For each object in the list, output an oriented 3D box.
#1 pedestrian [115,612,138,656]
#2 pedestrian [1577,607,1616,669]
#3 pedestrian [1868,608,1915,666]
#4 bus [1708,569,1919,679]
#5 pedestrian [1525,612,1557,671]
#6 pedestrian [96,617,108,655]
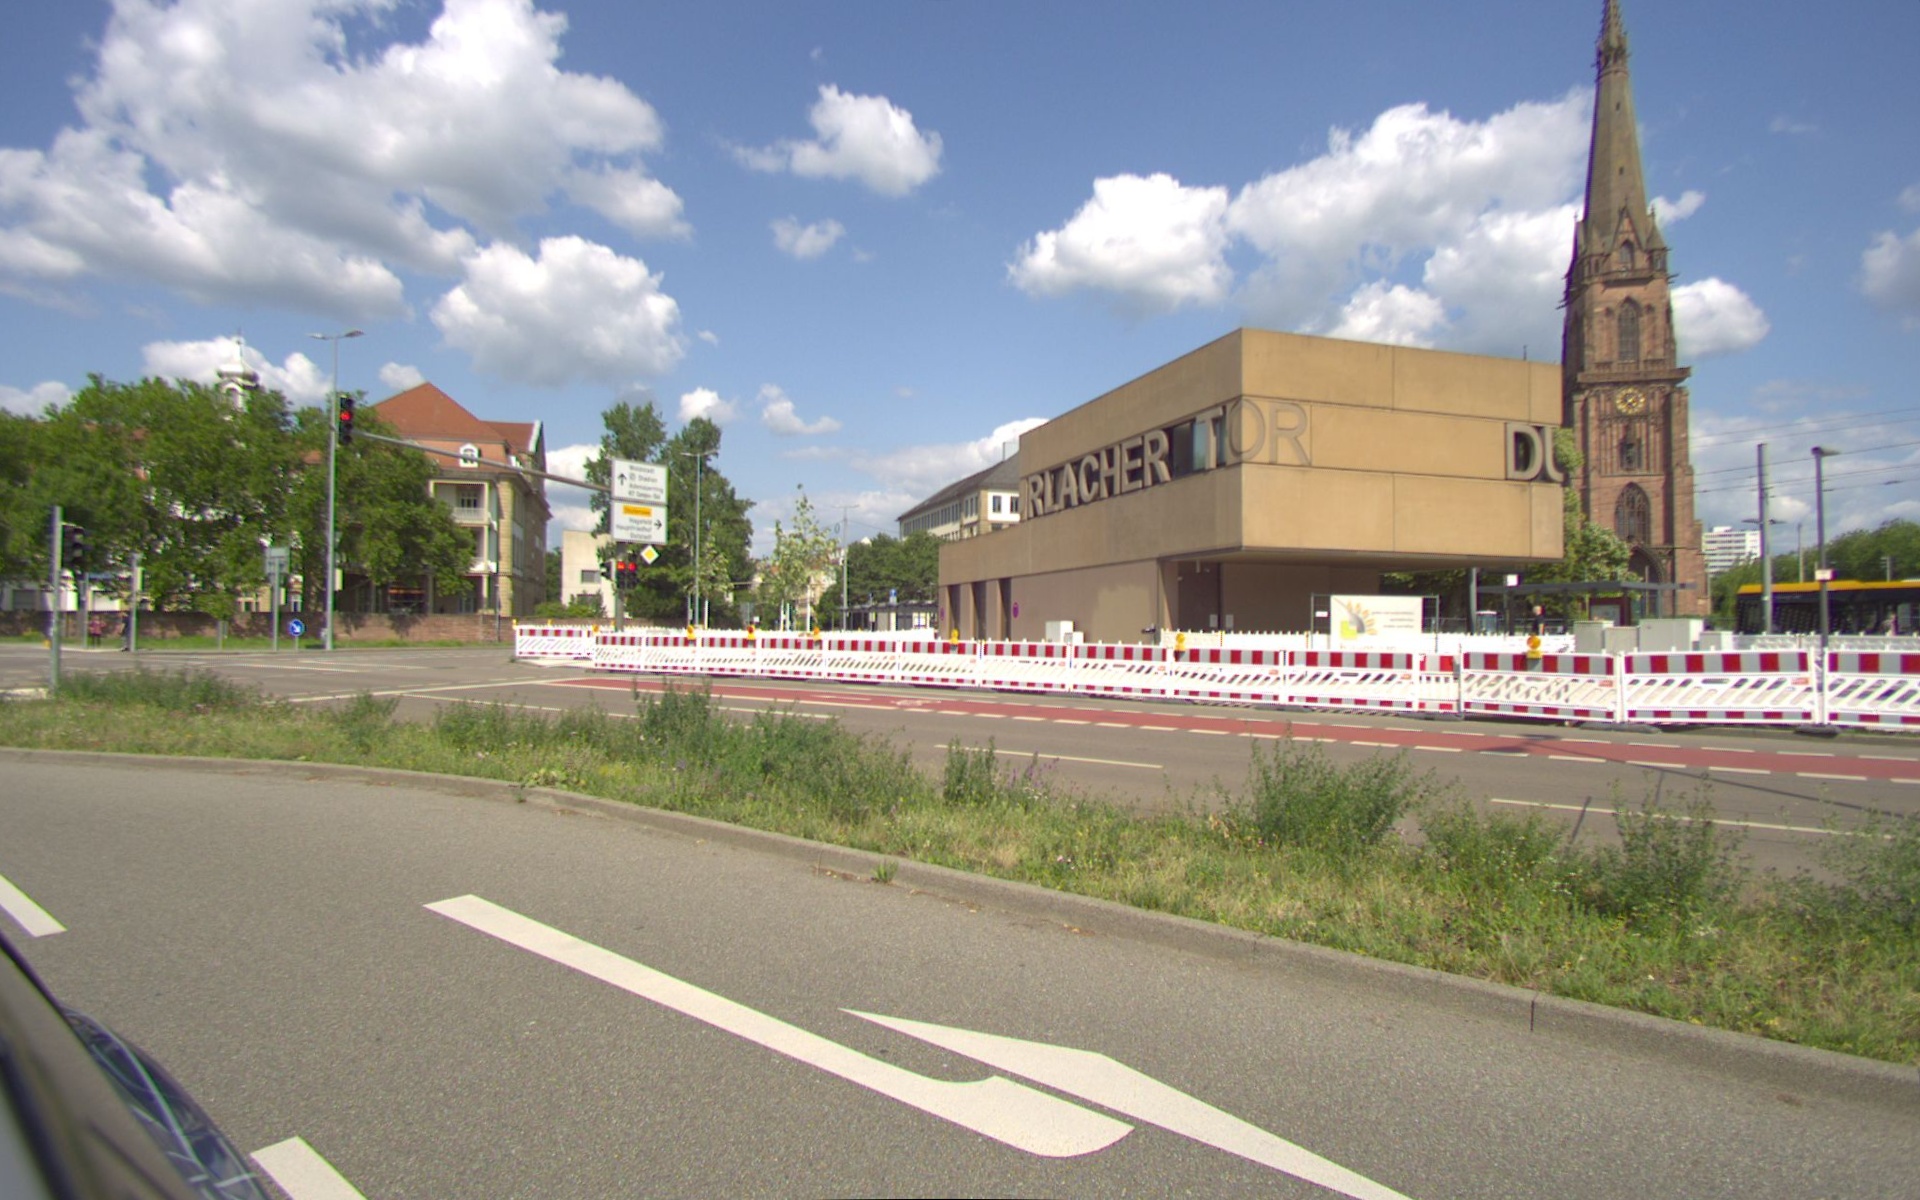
[{"bbox_3d":[-38.461,1.543,46.695,0.616,2.009,0.579,-1,0,13],"label":"pedestrian"},{"bbox_3d":[17.018,1.011,27.069,0.720,1.642,0.561,1,-2,-27],"label":"pedestrian"},{"bbox_3d":[27.243,1.076,29.615,0.641,1.644,0.768,1,-2,-19],"label":"pedestrian"},{"bbox_3d":[29.236,0.695,29.302,2.785,3.160,12.880,1,-2,-18],"label":"bus"},{"bbox_3d":[16.300,1.154,28.412,0.763,1.644,0.646,-1,-2,30],"label":"pedestrian"},{"bbox_3d":[-39.965,1.681,47.137,0.363,1.745,0.452,-1,0,-33],"label":"pedestrian"}]
